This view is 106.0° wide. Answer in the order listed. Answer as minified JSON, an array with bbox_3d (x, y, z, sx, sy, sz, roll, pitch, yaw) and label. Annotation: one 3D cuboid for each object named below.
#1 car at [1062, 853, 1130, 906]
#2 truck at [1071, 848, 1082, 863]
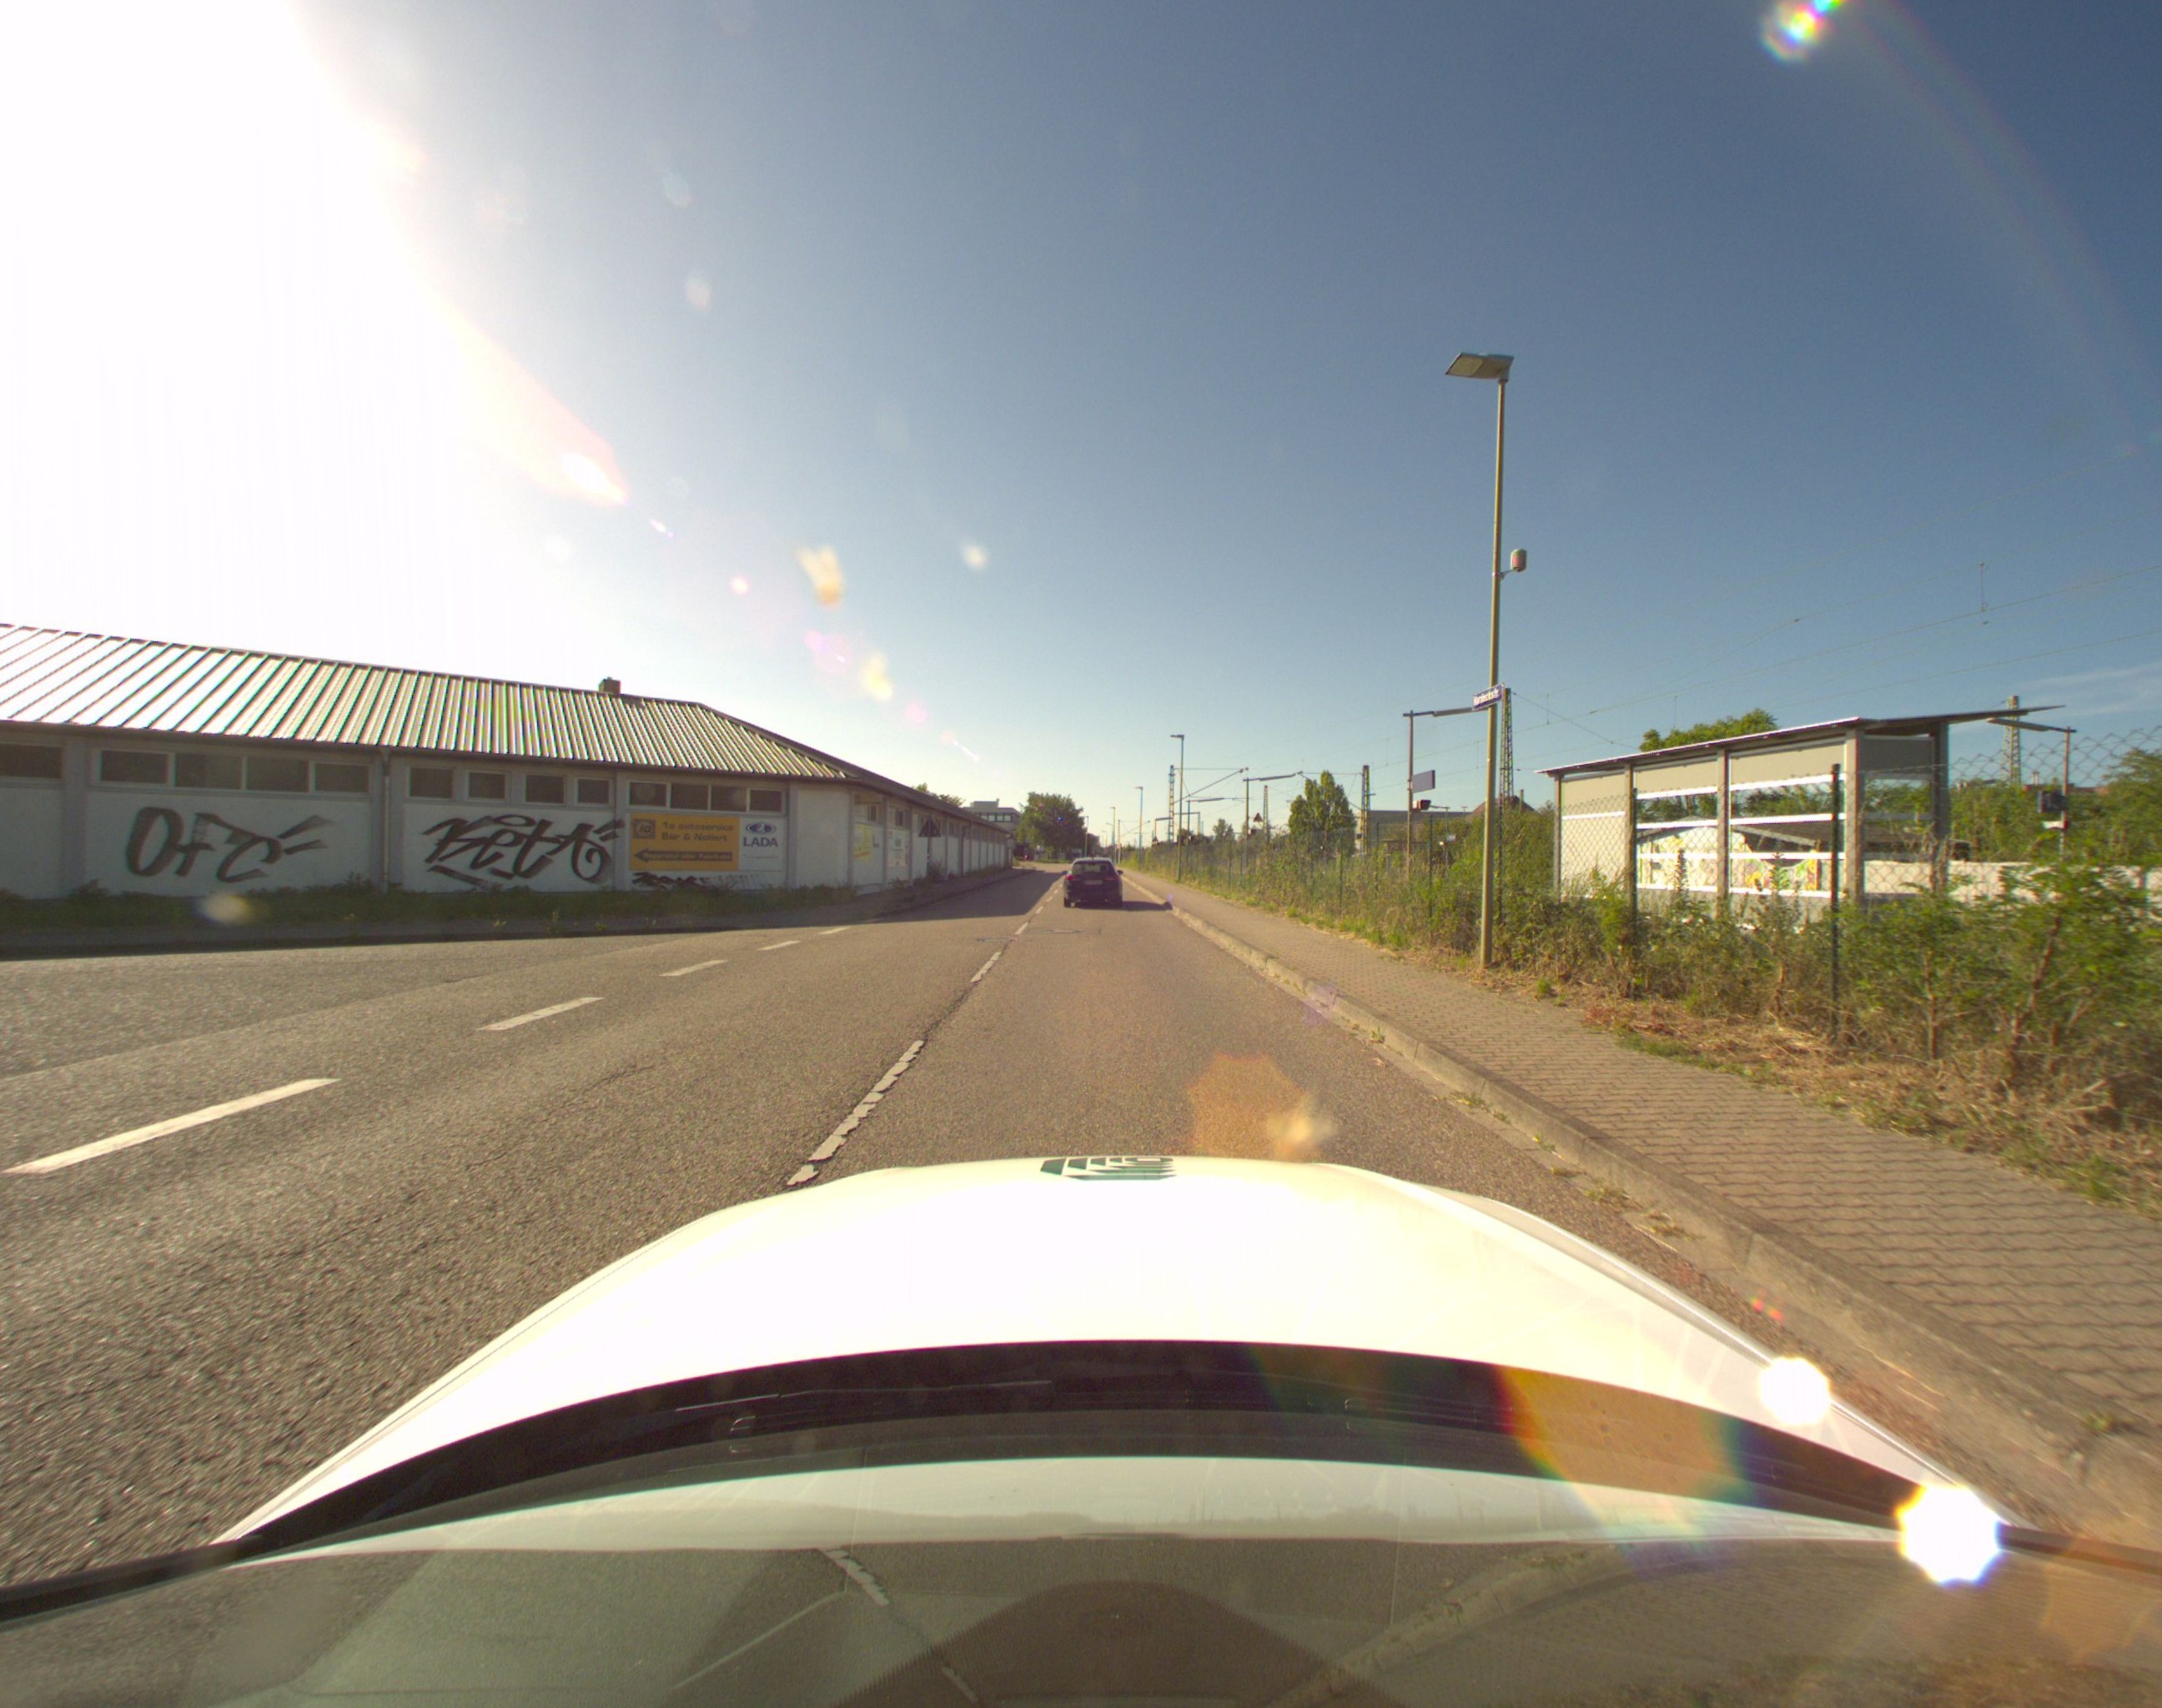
[{"bbox_3d":[0.437,0.746,25.631,1.936,1.489,4.564,0,0,0],"label":"car"},{"bbox_3d":[-1.218,0.462,215.958,2.606,3.885,13.523,2,0,-1],"label":"truck"}]
